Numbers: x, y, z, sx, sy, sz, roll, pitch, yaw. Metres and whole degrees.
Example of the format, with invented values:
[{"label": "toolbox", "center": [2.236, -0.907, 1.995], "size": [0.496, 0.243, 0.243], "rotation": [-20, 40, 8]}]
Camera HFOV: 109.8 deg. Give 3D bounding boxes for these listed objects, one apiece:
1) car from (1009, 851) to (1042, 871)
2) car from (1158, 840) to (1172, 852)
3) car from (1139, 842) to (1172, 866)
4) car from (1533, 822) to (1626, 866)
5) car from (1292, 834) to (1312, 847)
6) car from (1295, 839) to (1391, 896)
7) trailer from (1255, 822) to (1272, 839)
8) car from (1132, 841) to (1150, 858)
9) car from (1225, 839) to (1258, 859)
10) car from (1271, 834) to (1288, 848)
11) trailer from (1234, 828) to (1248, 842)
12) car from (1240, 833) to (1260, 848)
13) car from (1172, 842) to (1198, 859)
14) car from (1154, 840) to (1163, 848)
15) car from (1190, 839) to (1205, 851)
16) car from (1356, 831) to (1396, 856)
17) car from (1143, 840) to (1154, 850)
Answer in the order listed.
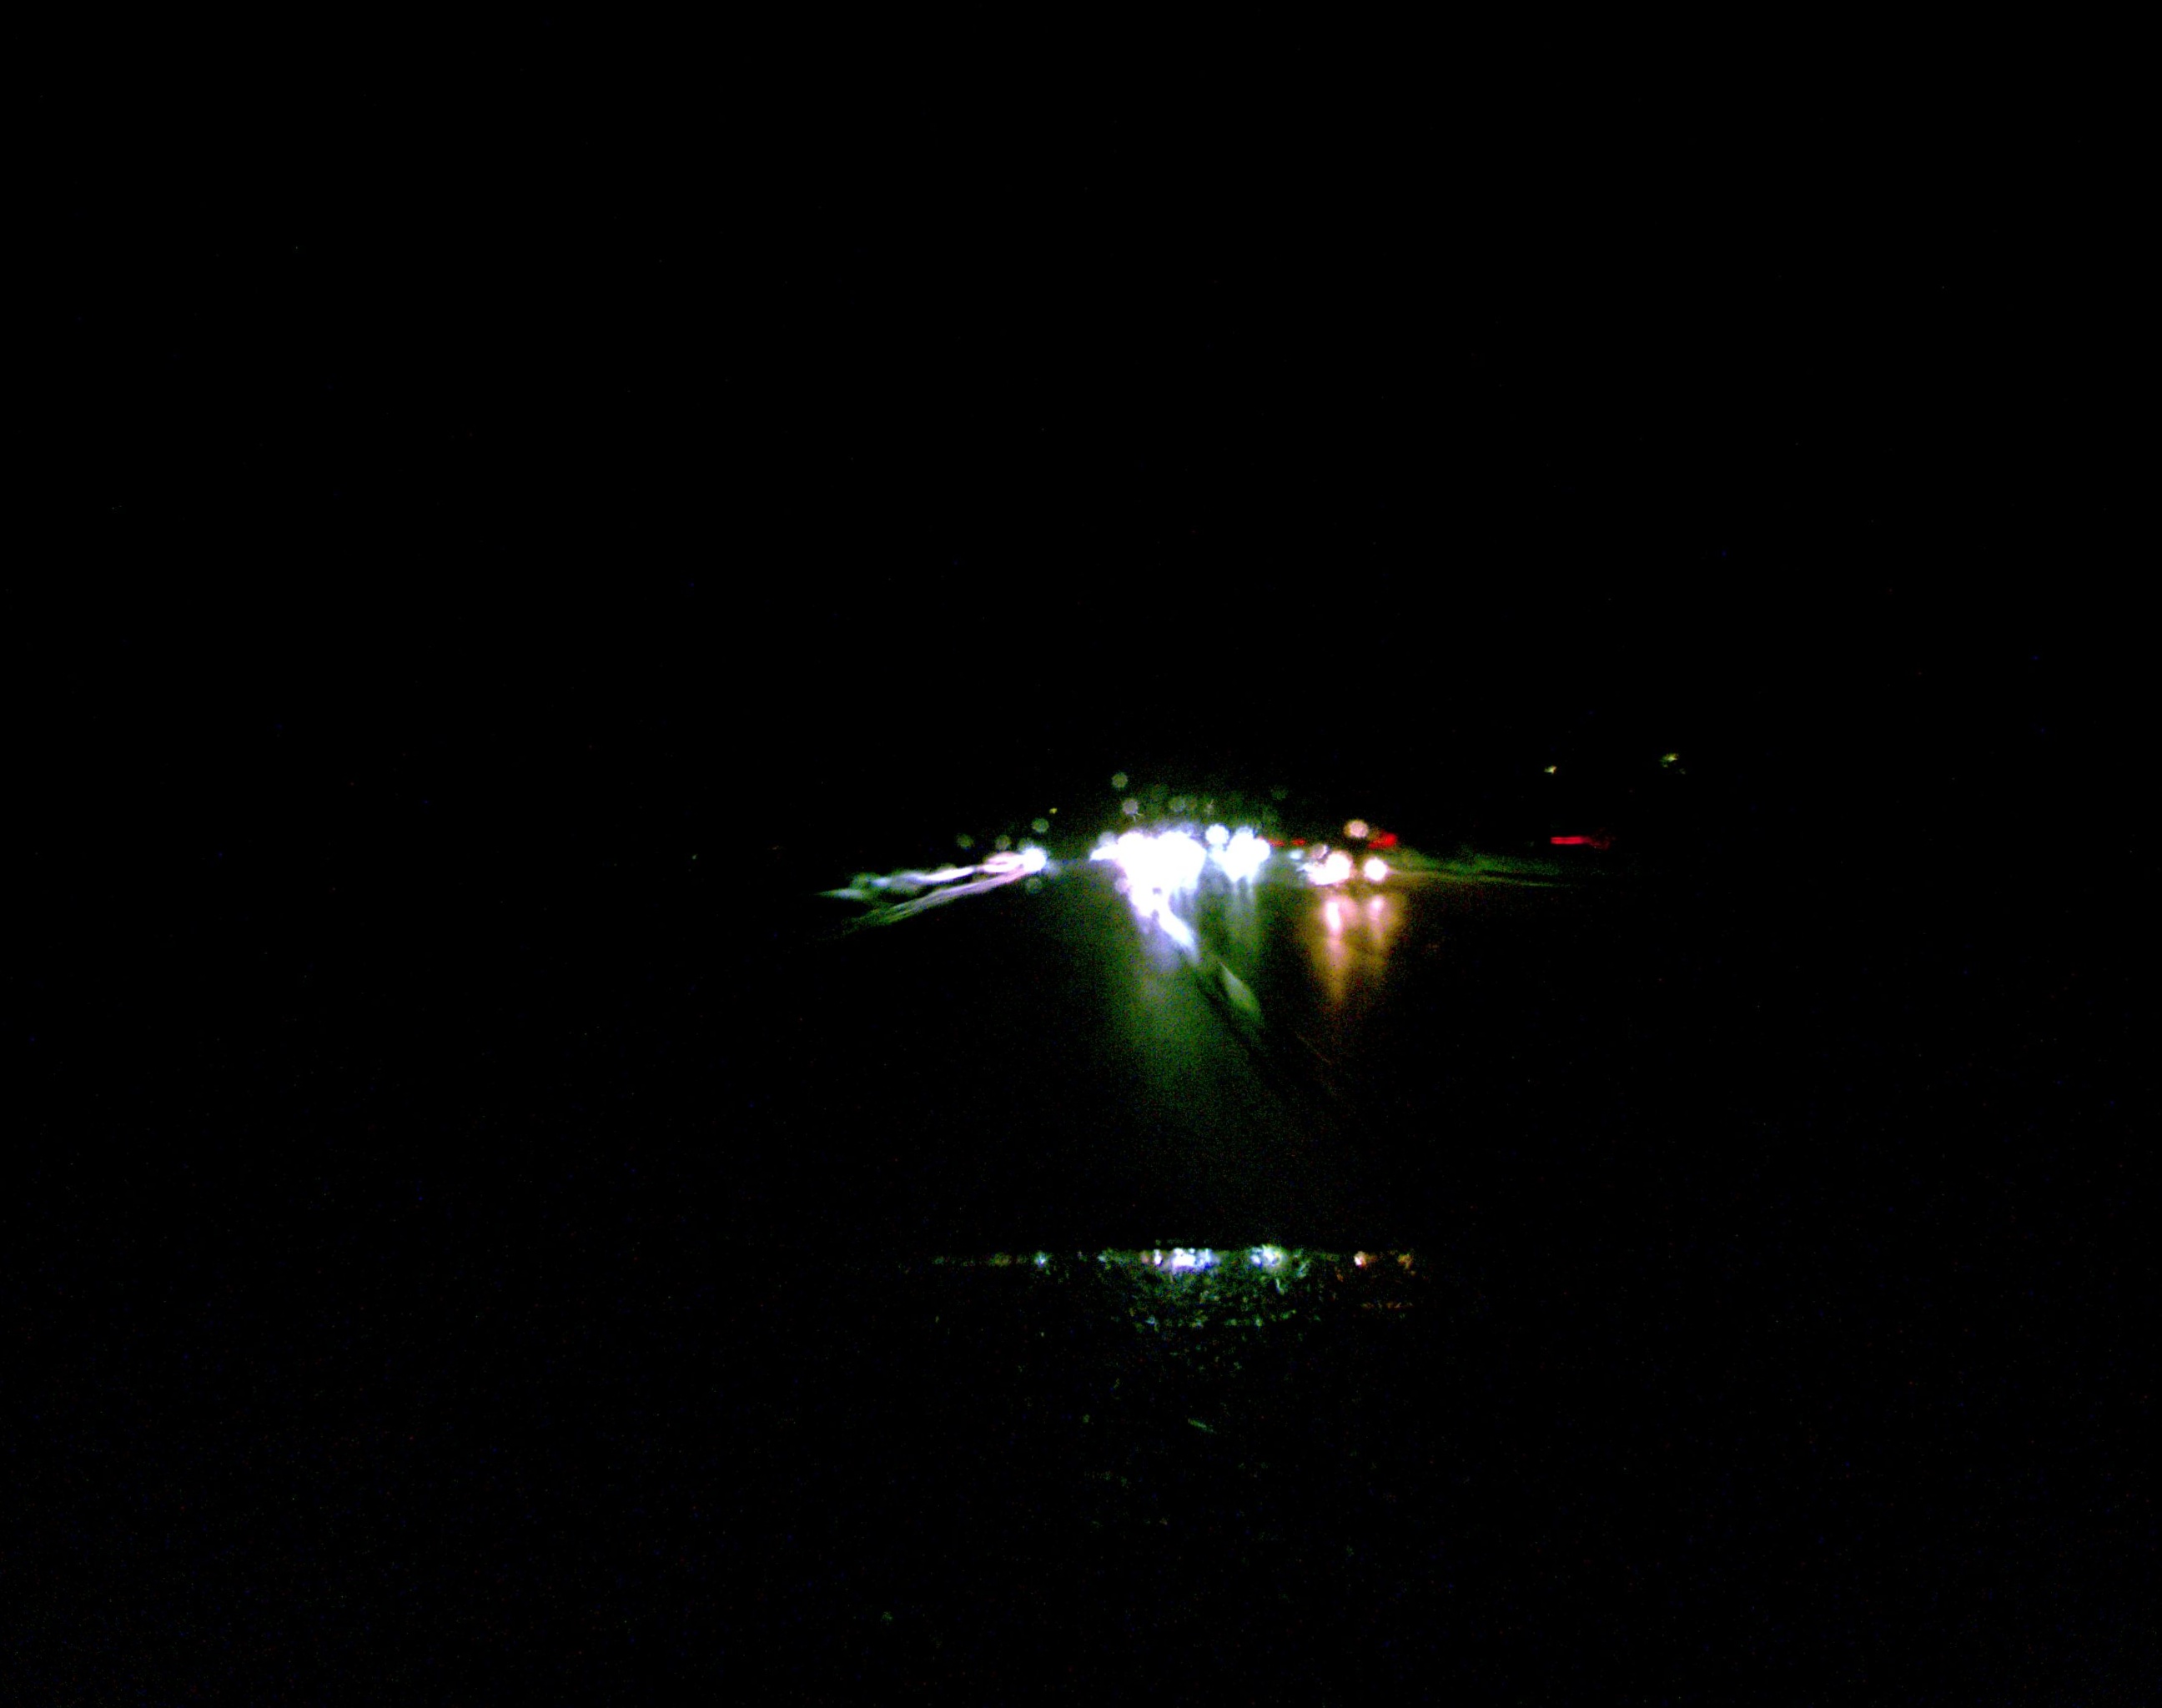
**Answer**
[{"label": "car", "center": [-5.472, 0.721, 74.437], "size": [2.001, 1.738, 4.093], "rotation": [-5, 1, -20]}, {"label": "car", "center": [13.811, -1.328, 124.429], "size": [1.929, 1.783, 4.000], "rotation": [-5, 1, 3]}, {"label": "car", "center": [5.393, -0.012, 55.382], "size": [1.921, 1.587, 3.999], "rotation": [-3, 1, 0]}, {"label": "car", "center": [25.572, -0.520, 39.178], "size": [1.998, 2.002, 4.278], "rotation": [-5, 1, 2]}, {"label": "car", "center": [35.447, -2.211, 121.978], "size": [1.998, 1.970, 4.000], "rotation": [-5, 1, 3]}, {"label": "car", "center": [8.130, 0.353, 23.959], "size": [1.726, 1.587, 4.000], "rotation": [-3, 1, 2]}, {"label": "trailer", "center": [41.423, -5.349, 172.870], "size": [2.657, 3.709, 13.949], "rotation": [-5, 1, 10]}, {"label": "car", "center": [7.652, -0.625, 96.965], "size": [1.998, 2.002, 4.000], "rotation": [-5, 1, 4]}, {"label": "car", "center": [13.812, -0.418, 65.622], "size": [1.921, 1.587, 3.999], "rotation": [-3, 1, 0]}, {"label": "car", "center": [32.000, -2.098, 122.433], "size": [1.997, 2.002, 4.001], "rotation": [-5, 1, 8]}, {"label": "trailer", "center": [49.322, -5.827, 234.604], "size": [2.776, 4.006, 14.017], "rotation": [-5, 1, 6]}, {"label": "car", "center": [25.215, -2.011, 113.523], "size": [1.998, 2.002, 4.567], "rotation": [-5, 1, 3]}, {"label": "car", "center": [10.359, -0.400, 76.037], "size": [1.921, 1.587, 3.999], "rotation": [-3, 1, 0]}, {"label": "car", "center": [21.248, -2.718, 208.899], "size": [1.998, 2.002, 4.000], "rotation": [-5, 1, 2]}, {"label": "car", "center": [18.570, -1.425, 120.981], "size": [1.929, 1.783, 4.001], "rotation": [-5, 1, 5]}, {"label": "car", "center": [26.529, -0.981, 68.479], "size": [1.998, 2.002, 4.278], "rotation": [-5, 1, 2]}, {"label": "car", "center": [14.064, -1.919, 158.159], "size": [1.929, 1.783, 4.000], "rotation": [-5, 1, 3]}]
